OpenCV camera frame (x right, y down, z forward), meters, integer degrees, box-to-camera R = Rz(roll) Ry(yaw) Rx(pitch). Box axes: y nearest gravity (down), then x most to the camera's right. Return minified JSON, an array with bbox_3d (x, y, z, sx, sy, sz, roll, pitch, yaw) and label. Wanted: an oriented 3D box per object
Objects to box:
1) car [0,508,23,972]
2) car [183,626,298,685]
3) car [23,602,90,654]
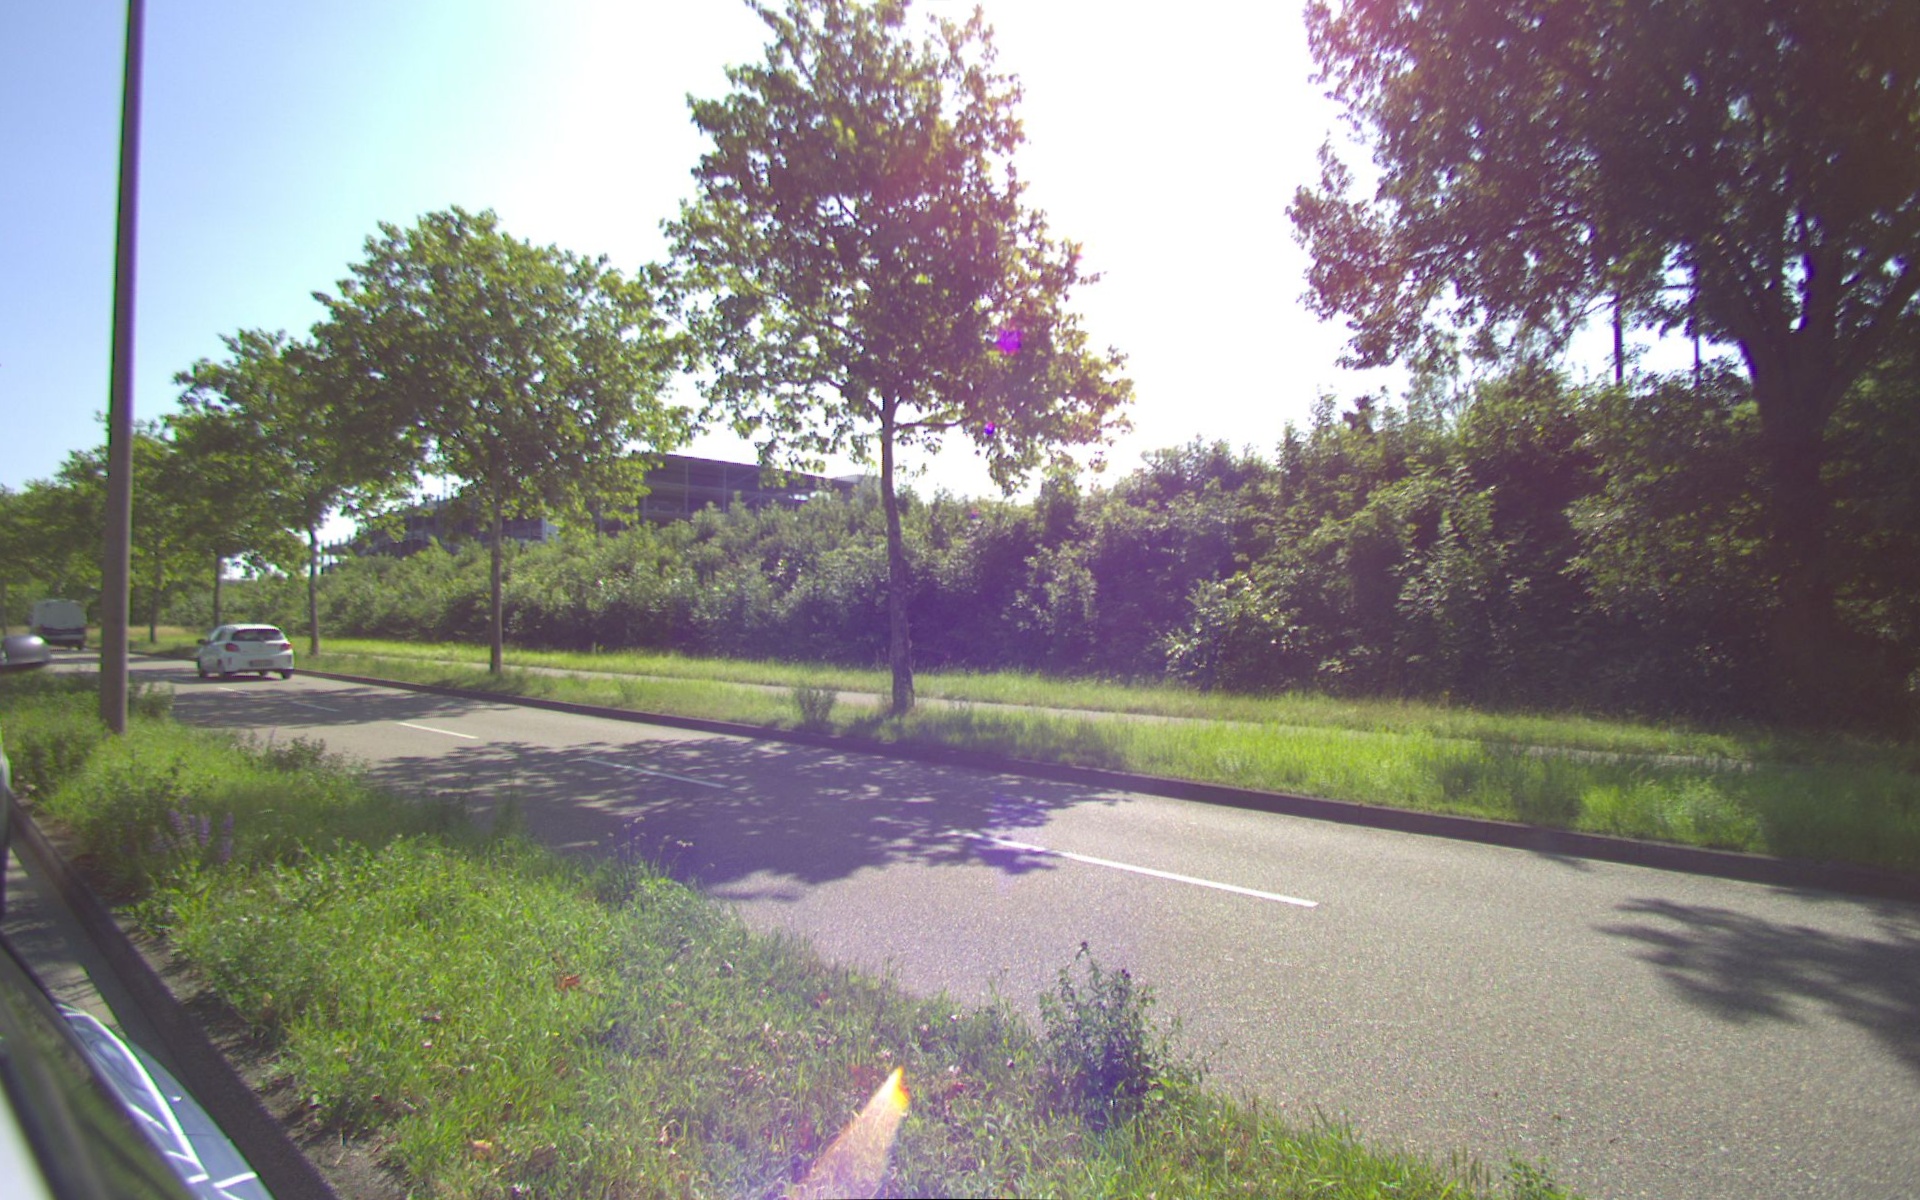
[{"bbox_3d":[-6.374,0.593,5.134,4.879,1.915,1.848,-1,-2,41],"label":"car"},{"bbox_3d":[-19.941,1.511,27.998,3.998,1.519,1.682,-2,-3,41],"label":"car"},{"bbox_3d":[-49.638,1.539,55.576,5.783,2.683,1.972,-1,-3,41],"label":"car"}]
